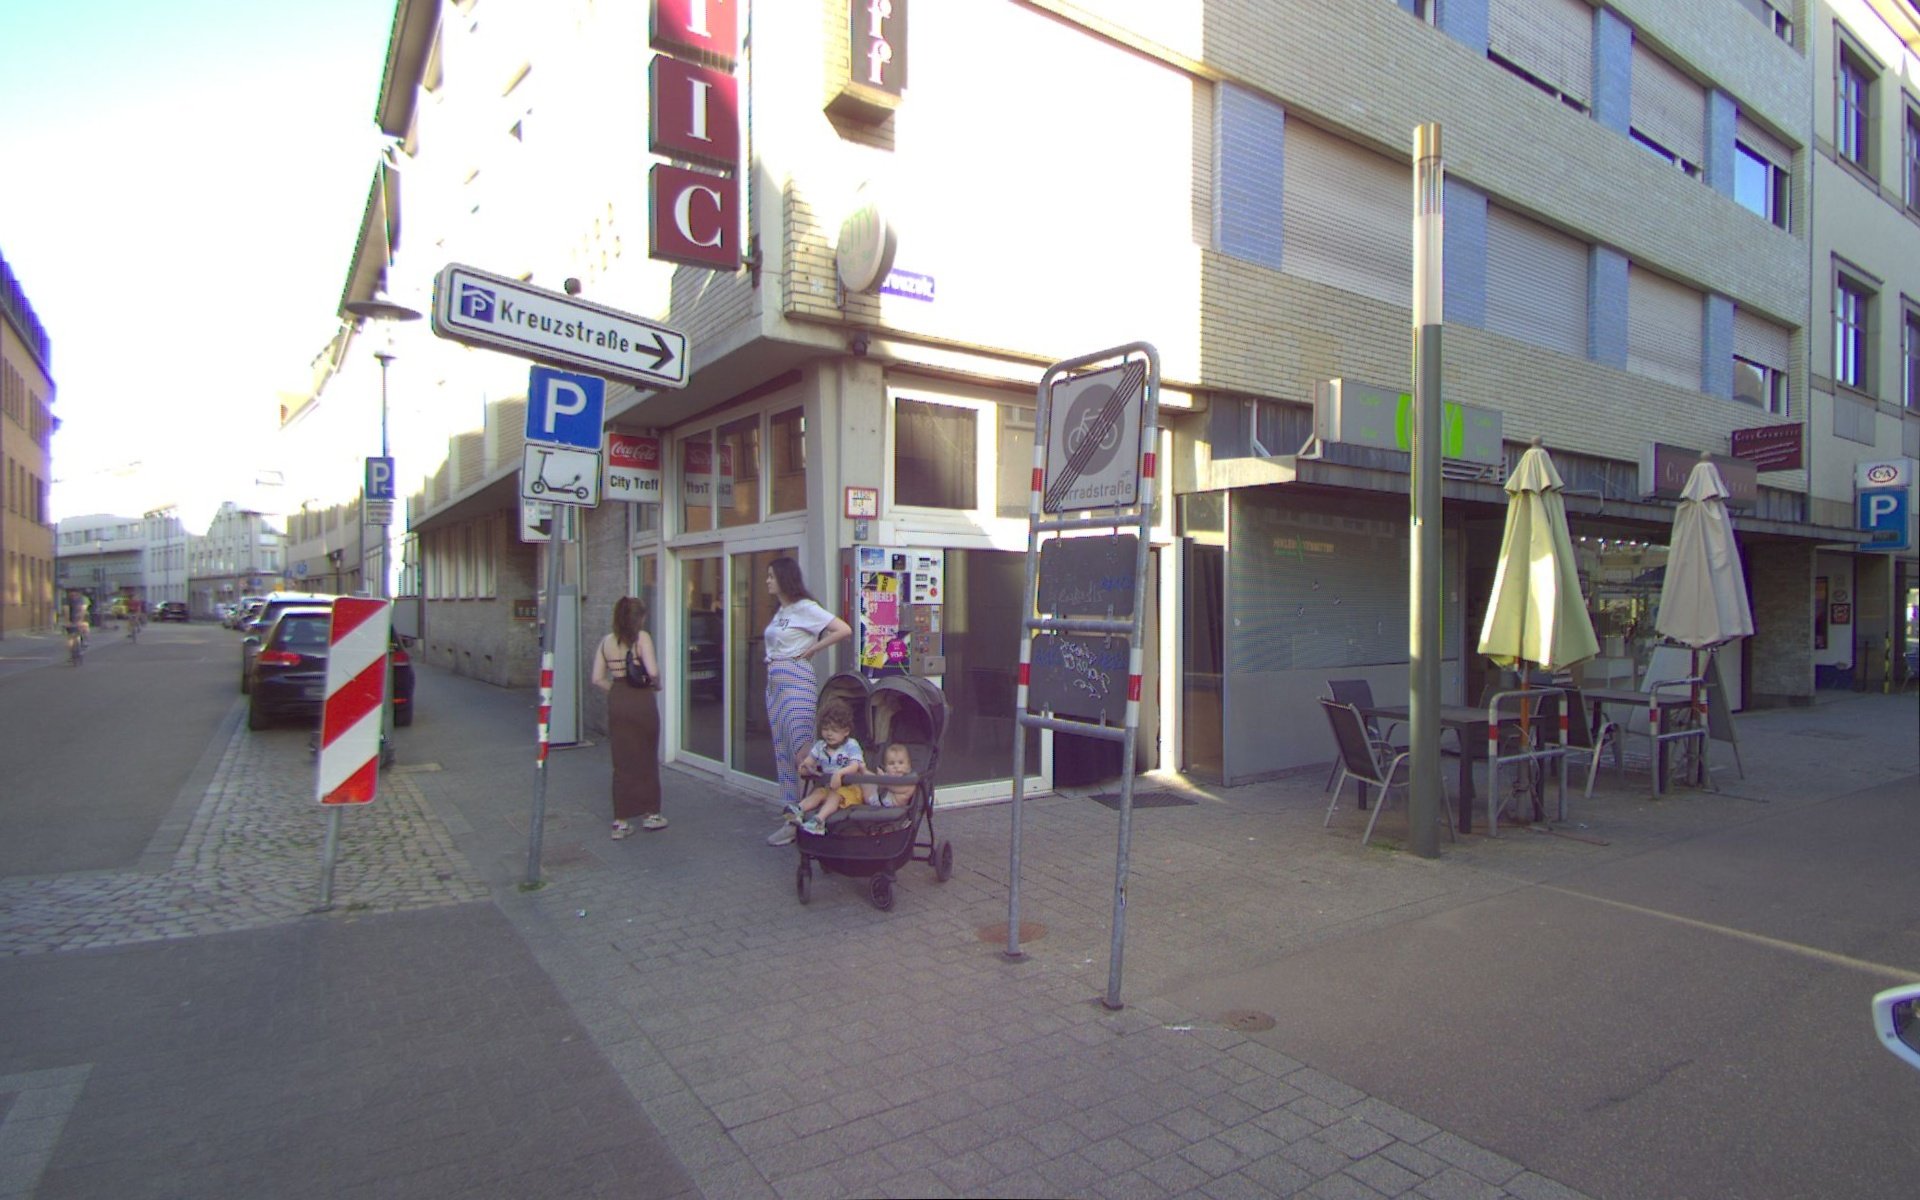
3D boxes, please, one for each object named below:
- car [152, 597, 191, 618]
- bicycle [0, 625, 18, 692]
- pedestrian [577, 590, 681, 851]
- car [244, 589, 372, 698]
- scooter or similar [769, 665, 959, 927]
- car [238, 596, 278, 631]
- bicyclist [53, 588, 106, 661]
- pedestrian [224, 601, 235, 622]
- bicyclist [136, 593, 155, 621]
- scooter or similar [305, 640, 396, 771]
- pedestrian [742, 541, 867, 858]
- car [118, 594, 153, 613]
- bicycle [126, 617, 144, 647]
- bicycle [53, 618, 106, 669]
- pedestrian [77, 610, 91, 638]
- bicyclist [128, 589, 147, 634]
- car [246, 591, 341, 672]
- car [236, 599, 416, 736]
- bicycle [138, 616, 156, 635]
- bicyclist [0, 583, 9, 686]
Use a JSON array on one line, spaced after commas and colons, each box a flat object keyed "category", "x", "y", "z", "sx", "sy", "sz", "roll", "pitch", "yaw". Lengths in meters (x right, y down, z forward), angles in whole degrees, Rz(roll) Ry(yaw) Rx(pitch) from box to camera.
[{"category": "car", "x": -63.750, "y": 0.618, "z": 81.185, "sx": 3.781, "sy": 1.673, "sz": 1.925, "roll": 0, "pitch": 0, "yaw": 42}, {"category": "bicycle", "x": -16.171, "y": 0.976, "z": 16.579, "sx": 0.585, "sy": 1.066, "sz": 1.784, "roll": -2, "pitch": 1, "yaw": -34}, {"category": "pedestrian", "x": -2.174, "y": 0.748, "z": 6.581, "sx": 0.504, "sy": 1.601, "sz": 0.530, "roll": -3, "pitch": 1, "yaw": -29}, {"category": "car", "x": -11.498, "y": 0.718, "z": 17.694, "sx": 1.657, "sy": 1.683, "sz": 4.042, "roll": 3, "pitch": -2, "yaw": -34}, {"category": "scooter or similar", "x": -0.464, "y": 0.958, "z": 5.267, "sx": 0.783, "sy": 1.159, "sz": 0.954, "roll": 0, "pitch": 1, "yaw": 8}, {"category": "car", "x": -38.620, "y": 0.755, "z": 55.214, "sx": 1.678, "sy": 1.798, "sz": 3.618, "roll": 3, "pitch": -2, "yaw": -36}, {"category": "bicyclist", "x": -19.925, "y": 0.540, "z": 22.751, "sx": 0.642, "sy": 1.579, "sz": 1.100, "roll": -3, "pitch": 2, "yaw": -31}, {"category": "pedestrian", "x": -51.027, "y": 0.815, "z": 70.170, "sx": 0.567, "sy": 1.499, "sz": 0.468, "roll": 0, "pitch": 0, "yaw": -42}, {"category": "bicyclist", "x": -50.867, "y": 0.425, "z": 62.751, "sx": 0.768, "sy": 1.678, "sz": 0.944, "roll": -3, "pitch": 2, "yaw": -45}, {"category": "scooter or similar", "x": -5.798, "y": 0.990, "z": 9.552, "sx": 0.865, "sy": 1.199, "sz": 0.208, "roll": 0, "pitch": 0, "yaw": 16}, {"category": "pedestrian", "x": -0.943, "y": 0.583, "z": 6.212, "sx": 0.647, "sy": 1.844, "sz": 0.570, "roll": -2, "pitch": 1, "yaw": -4}, {"category": "car", "x": -75.668, "y": 0.301, "z": 92.148, "sx": 3.781, "sy": 1.673, "sz": 1.925, "roll": 0, "pitch": -1, "yaw": 42}, {"category": "bicycle", "x": -28.291, "y": 1.083, "z": 34.452, "sx": 0.432, "sy": 0.970, "sz": 1.574, "roll": 0, "pitch": 0, "yaw": -37}, {"category": "bicycle", "x": -19.968, "y": 0.965, "z": 22.796, "sx": 0.567, "sy": 1.065, "sz": 1.820, "roll": -2, "pitch": 1, "yaw": -31}, {"category": "pedestrian", "x": -49.009, "y": 1.332, "z": 56.190, "sx": 0.538, "sy": 1.565, "sz": 0.401, "roll": 2, "pitch": -1, "yaw": -36}, {"category": "bicyclist", "x": -28.338, "y": 0.395, "z": 34.627, "sx": 0.424, "sy": 1.518, "sz": 0.866, "roll": -2, "pitch": 1, "yaw": -36}, {"category": "car", "x": -15.649, "y": 0.715, "z": 23.597, "sx": 1.657, "sy": 1.727, "sz": 3.974, "roll": 3, "pitch": -2, "yaw": -34}, {"category": "car", "x": -8.398, "y": 0.792, "z": 13.276, "sx": 1.723, "sy": 1.505, "sz": 3.775, "roll": 3, "pitch": -1, "yaw": -34}, {"category": "bicycle", "x": -50.736, "y": 1.563, "z": 62.686, "sx": 0.700, "sy": 1.118, "sz": 1.804, "roll": -4, "pitch": 2, "yaw": -44}, {"category": "bicyclist", "x": -16.062, "y": 0.574, "z": 16.376, "sx": 0.613, "sy": 1.689, "sz": 0.816, "roll": -3, "pitch": 2, "yaw": -34}]
